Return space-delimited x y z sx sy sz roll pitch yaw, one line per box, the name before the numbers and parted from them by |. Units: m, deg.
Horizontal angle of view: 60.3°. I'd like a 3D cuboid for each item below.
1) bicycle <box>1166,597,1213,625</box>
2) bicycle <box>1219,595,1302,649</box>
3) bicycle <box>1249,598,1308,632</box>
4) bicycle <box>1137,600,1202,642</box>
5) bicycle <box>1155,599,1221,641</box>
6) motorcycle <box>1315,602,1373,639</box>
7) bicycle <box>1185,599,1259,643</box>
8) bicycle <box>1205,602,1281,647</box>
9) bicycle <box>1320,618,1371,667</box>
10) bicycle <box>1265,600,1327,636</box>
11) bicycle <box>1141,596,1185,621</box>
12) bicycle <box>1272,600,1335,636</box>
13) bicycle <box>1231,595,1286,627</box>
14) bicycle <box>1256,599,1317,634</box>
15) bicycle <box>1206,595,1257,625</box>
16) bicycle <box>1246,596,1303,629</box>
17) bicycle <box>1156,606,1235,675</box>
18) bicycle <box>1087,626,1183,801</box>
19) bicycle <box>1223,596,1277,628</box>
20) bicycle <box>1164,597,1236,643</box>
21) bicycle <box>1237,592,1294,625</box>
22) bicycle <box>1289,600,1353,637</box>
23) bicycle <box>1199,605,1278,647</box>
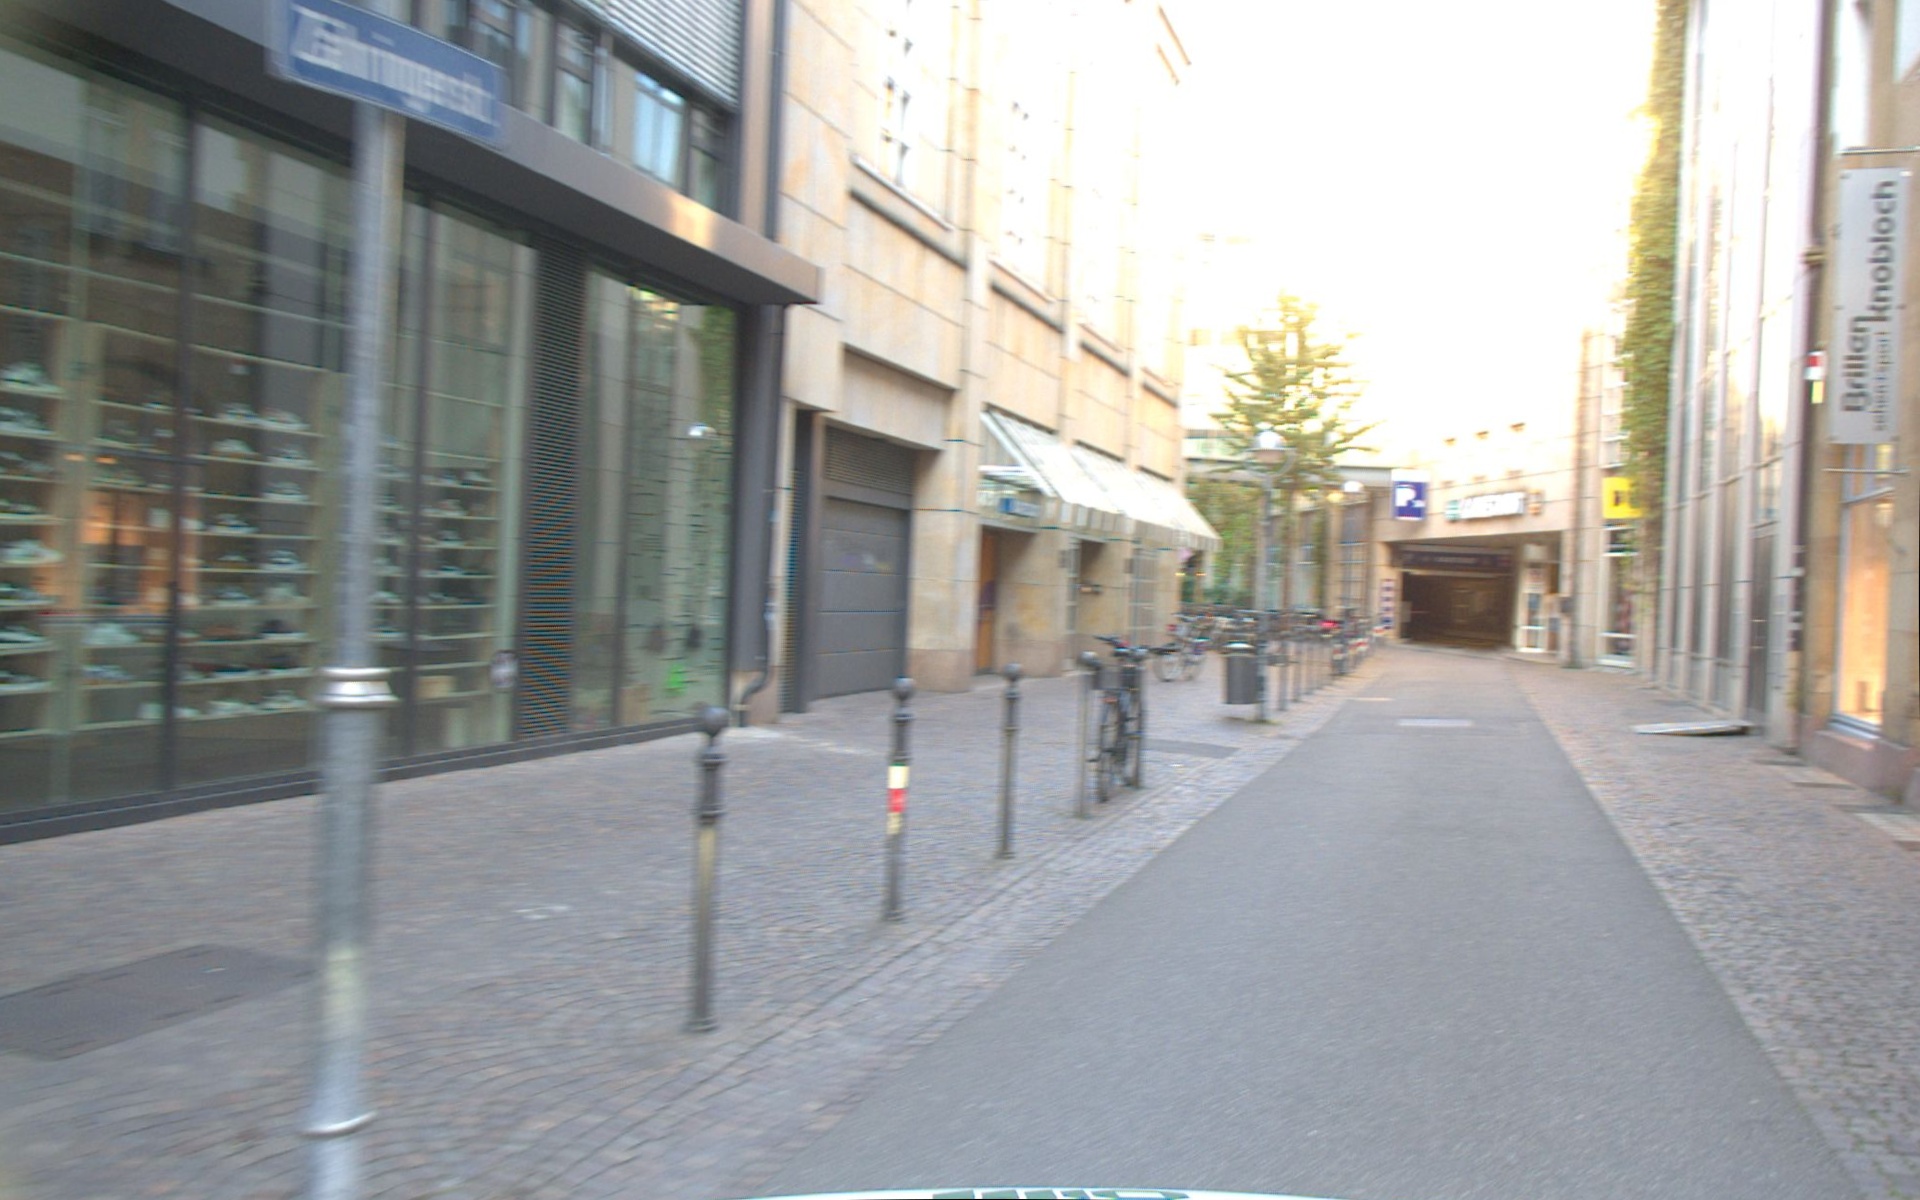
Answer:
bicycle | 10.050 0.485 72.442 1.954 1.203 0.694 0 0 -2
bicycle | 7.498 0.545 41.343 1.875 1.283 0.808 2 0 -3
bicycle | 11.393 0.526 59.208 1.954 1.203 0.802 0 0 -2
bicycle | 6.450 0.635 50.963 1.874 1.203 0.696 2 0 0
bicycle | 6.902 0.600 50.045 1.874 1.203 0.696 2 0 0
motorcycle | 12.200 0.645 52.625 1.710 1.175 0.594 0 0 0
bicycle | 7.151 0.556 45.146 1.874 1.121 0.696 2 0 0
bicycle | 7.487 0.640 43.794 1.875 1.121 0.695 2 0 -3
bicycle | 8.060 0.875 34.531 0.496 0.983 1.690 2 0 32
bicycle | 11.468 0.610 56.469 1.954 1.203 0.802 0 0 -2
bicycle | 9.580 0.398 78.153 1.954 1.203 0.694 0 0 -2
bicycle | 11.528 0.600 55.525 1.954 1.203 0.696 0 0 -2
bicycle | 11.267 0.408 62.509 1.954 1.203 0.694 0 0 -2
bicycle | 11.377 0.575 57.687 1.954 1.203 0.802 0 0 -2
bicycle | 10.869 0.388 66.238 1.954 1.203 0.694 0 0 -2
bicycle | 11.440 0.456 60.230 1.954 1.203 0.694 0 0 -2
bicycle | 4.079 0.685 28.560 0.681 1.131 1.772 2 0 32
bicycle | 1.332 0.796 12.326 0.401 1.152 1.932 2 1 14
bicycle | 11.165 0.456 63.668 1.954 1.203 0.694 0 0 -2
bicycle | 6.696 0.548 46.235 1.874 1.203 0.696 2 0 0
bicycle | 11.300 0.301 61.200 1.954 1.203 0.694 0 0 -2
bicycle | 11.877 0.619 54.513 1.954 1.203 0.696 0 0 -2
bicycle | 7.216 0.663 42.915 1.875 1.011 0.695 2 0 -3
